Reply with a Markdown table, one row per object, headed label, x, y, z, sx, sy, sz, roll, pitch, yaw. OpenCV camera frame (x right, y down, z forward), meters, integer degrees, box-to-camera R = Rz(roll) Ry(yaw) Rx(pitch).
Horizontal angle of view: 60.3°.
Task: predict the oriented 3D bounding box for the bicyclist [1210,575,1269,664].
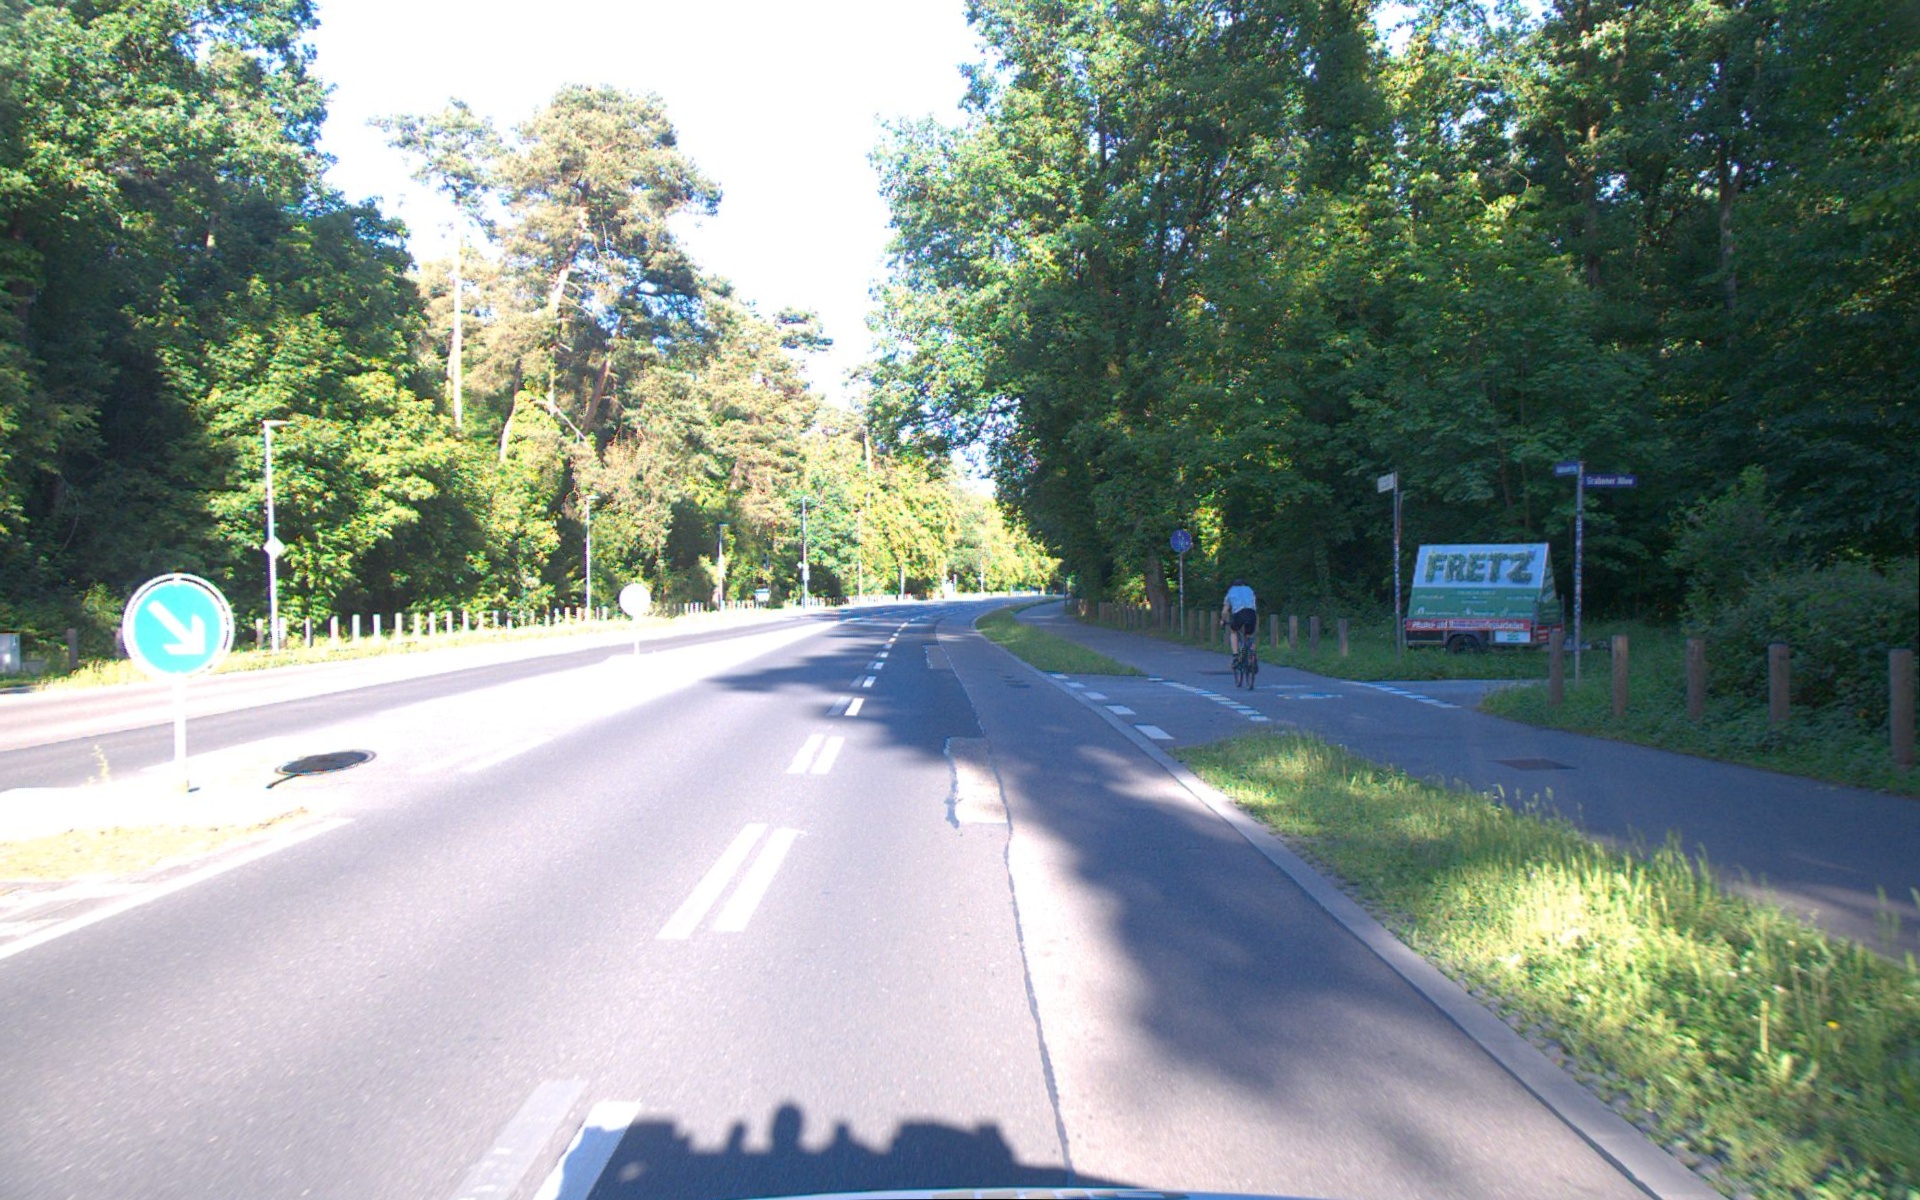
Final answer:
| label | x | y | z | sx | sy | sz | roll | pitch | yaw |
| --- | --- | --- | --- | --- | --- | --- | --- | --- | --- |
| bicyclist | 4.231 | 0.290 | 25.087 | 0.697 | 1.311 | 1.104 | 0 | 0 | -1 |

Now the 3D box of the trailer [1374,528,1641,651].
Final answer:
| label | x | y | z | sx | sy | sz | roll | pitch | yaw |
| --- | --- | --- | --- | --- | --- | --- | --- | --- | --- |
| trailer | 9.868 | -0.241 | 29.951 | 4.149 | 2.056 | 1.990 | 2 | 2 | 40 |

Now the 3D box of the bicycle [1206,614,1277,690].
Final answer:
| label | x | y | z | sx | sy | sz | roll | pitch | yaw |
| --- | --- | --- | --- | --- | --- | --- | --- | --- | --- |
| bicycle | 4.231 | 0.764 | 25.001 | 0.697 | 1.074 | 2.052 | 0 | 0 | -1 |
